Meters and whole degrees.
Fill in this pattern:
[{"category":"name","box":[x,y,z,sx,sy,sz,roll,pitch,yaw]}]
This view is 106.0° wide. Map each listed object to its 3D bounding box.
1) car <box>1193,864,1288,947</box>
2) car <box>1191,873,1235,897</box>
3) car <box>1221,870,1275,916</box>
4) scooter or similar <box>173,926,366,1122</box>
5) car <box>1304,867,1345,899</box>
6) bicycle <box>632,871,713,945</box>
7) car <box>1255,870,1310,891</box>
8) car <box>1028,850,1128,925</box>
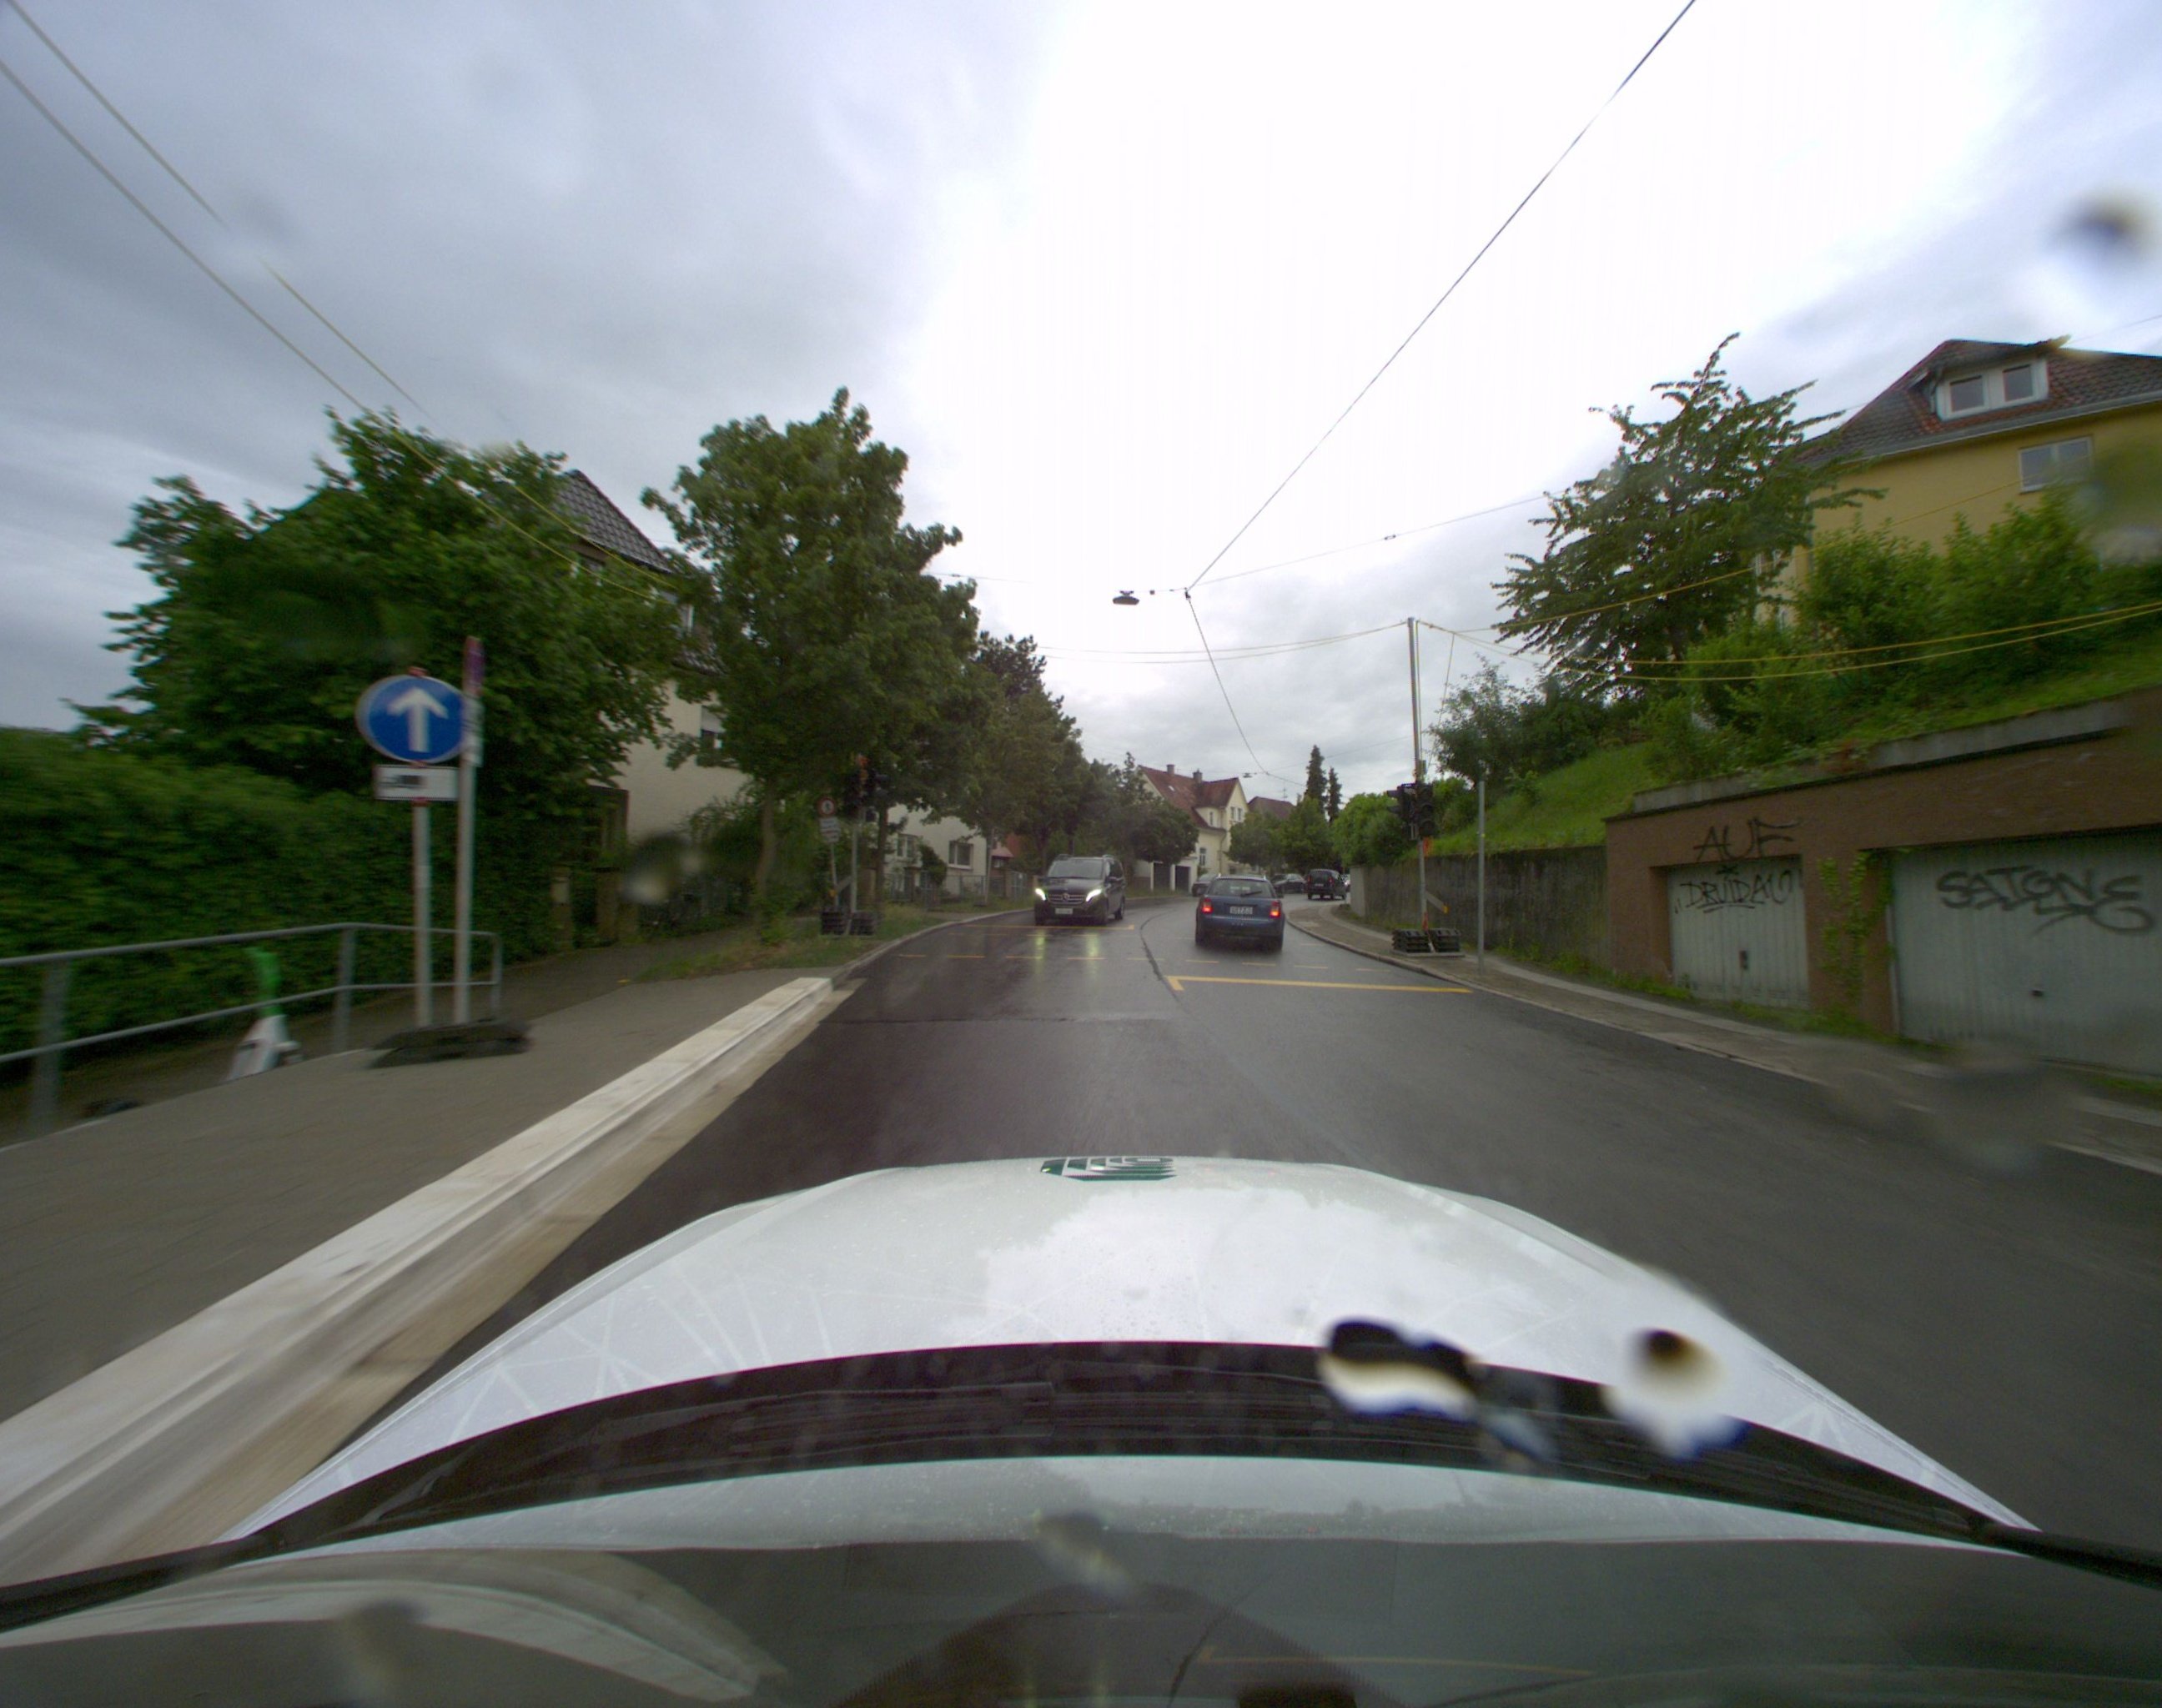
[{"category":"car","box":[3.301,0.997,17.331,1.723,1.466,4.010,-2,0,8]},{"category":"car","box":[8.396,1.968,51.512,1.654,1.466,3.917,-2,-2,25]},{"category":"car","box":[6.910,1.549,33.393,1.961,1.635,4.251,-2,0,14]},{"category":"scooter or similar","box":[-5.387,1.073,5.471,0.323,1.081,1.092,-1,-1,-8]},{"category":"car","box":[15.228,1.761,50.831,1.717,1.769,4.260,-2,0,26]},{"category":"bicycle","box":[-7.940,1.005,15.944,0.489,1.272,2.271,2,0,-3]},{"category":"car","box":[15.182,2.004,61.184,1.849,1.545,4.934,-1,-2,42]},{"category":"car","box":[0.064,0.920,23.055,1.885,1.890,5.167,-1,-2,10]}]
